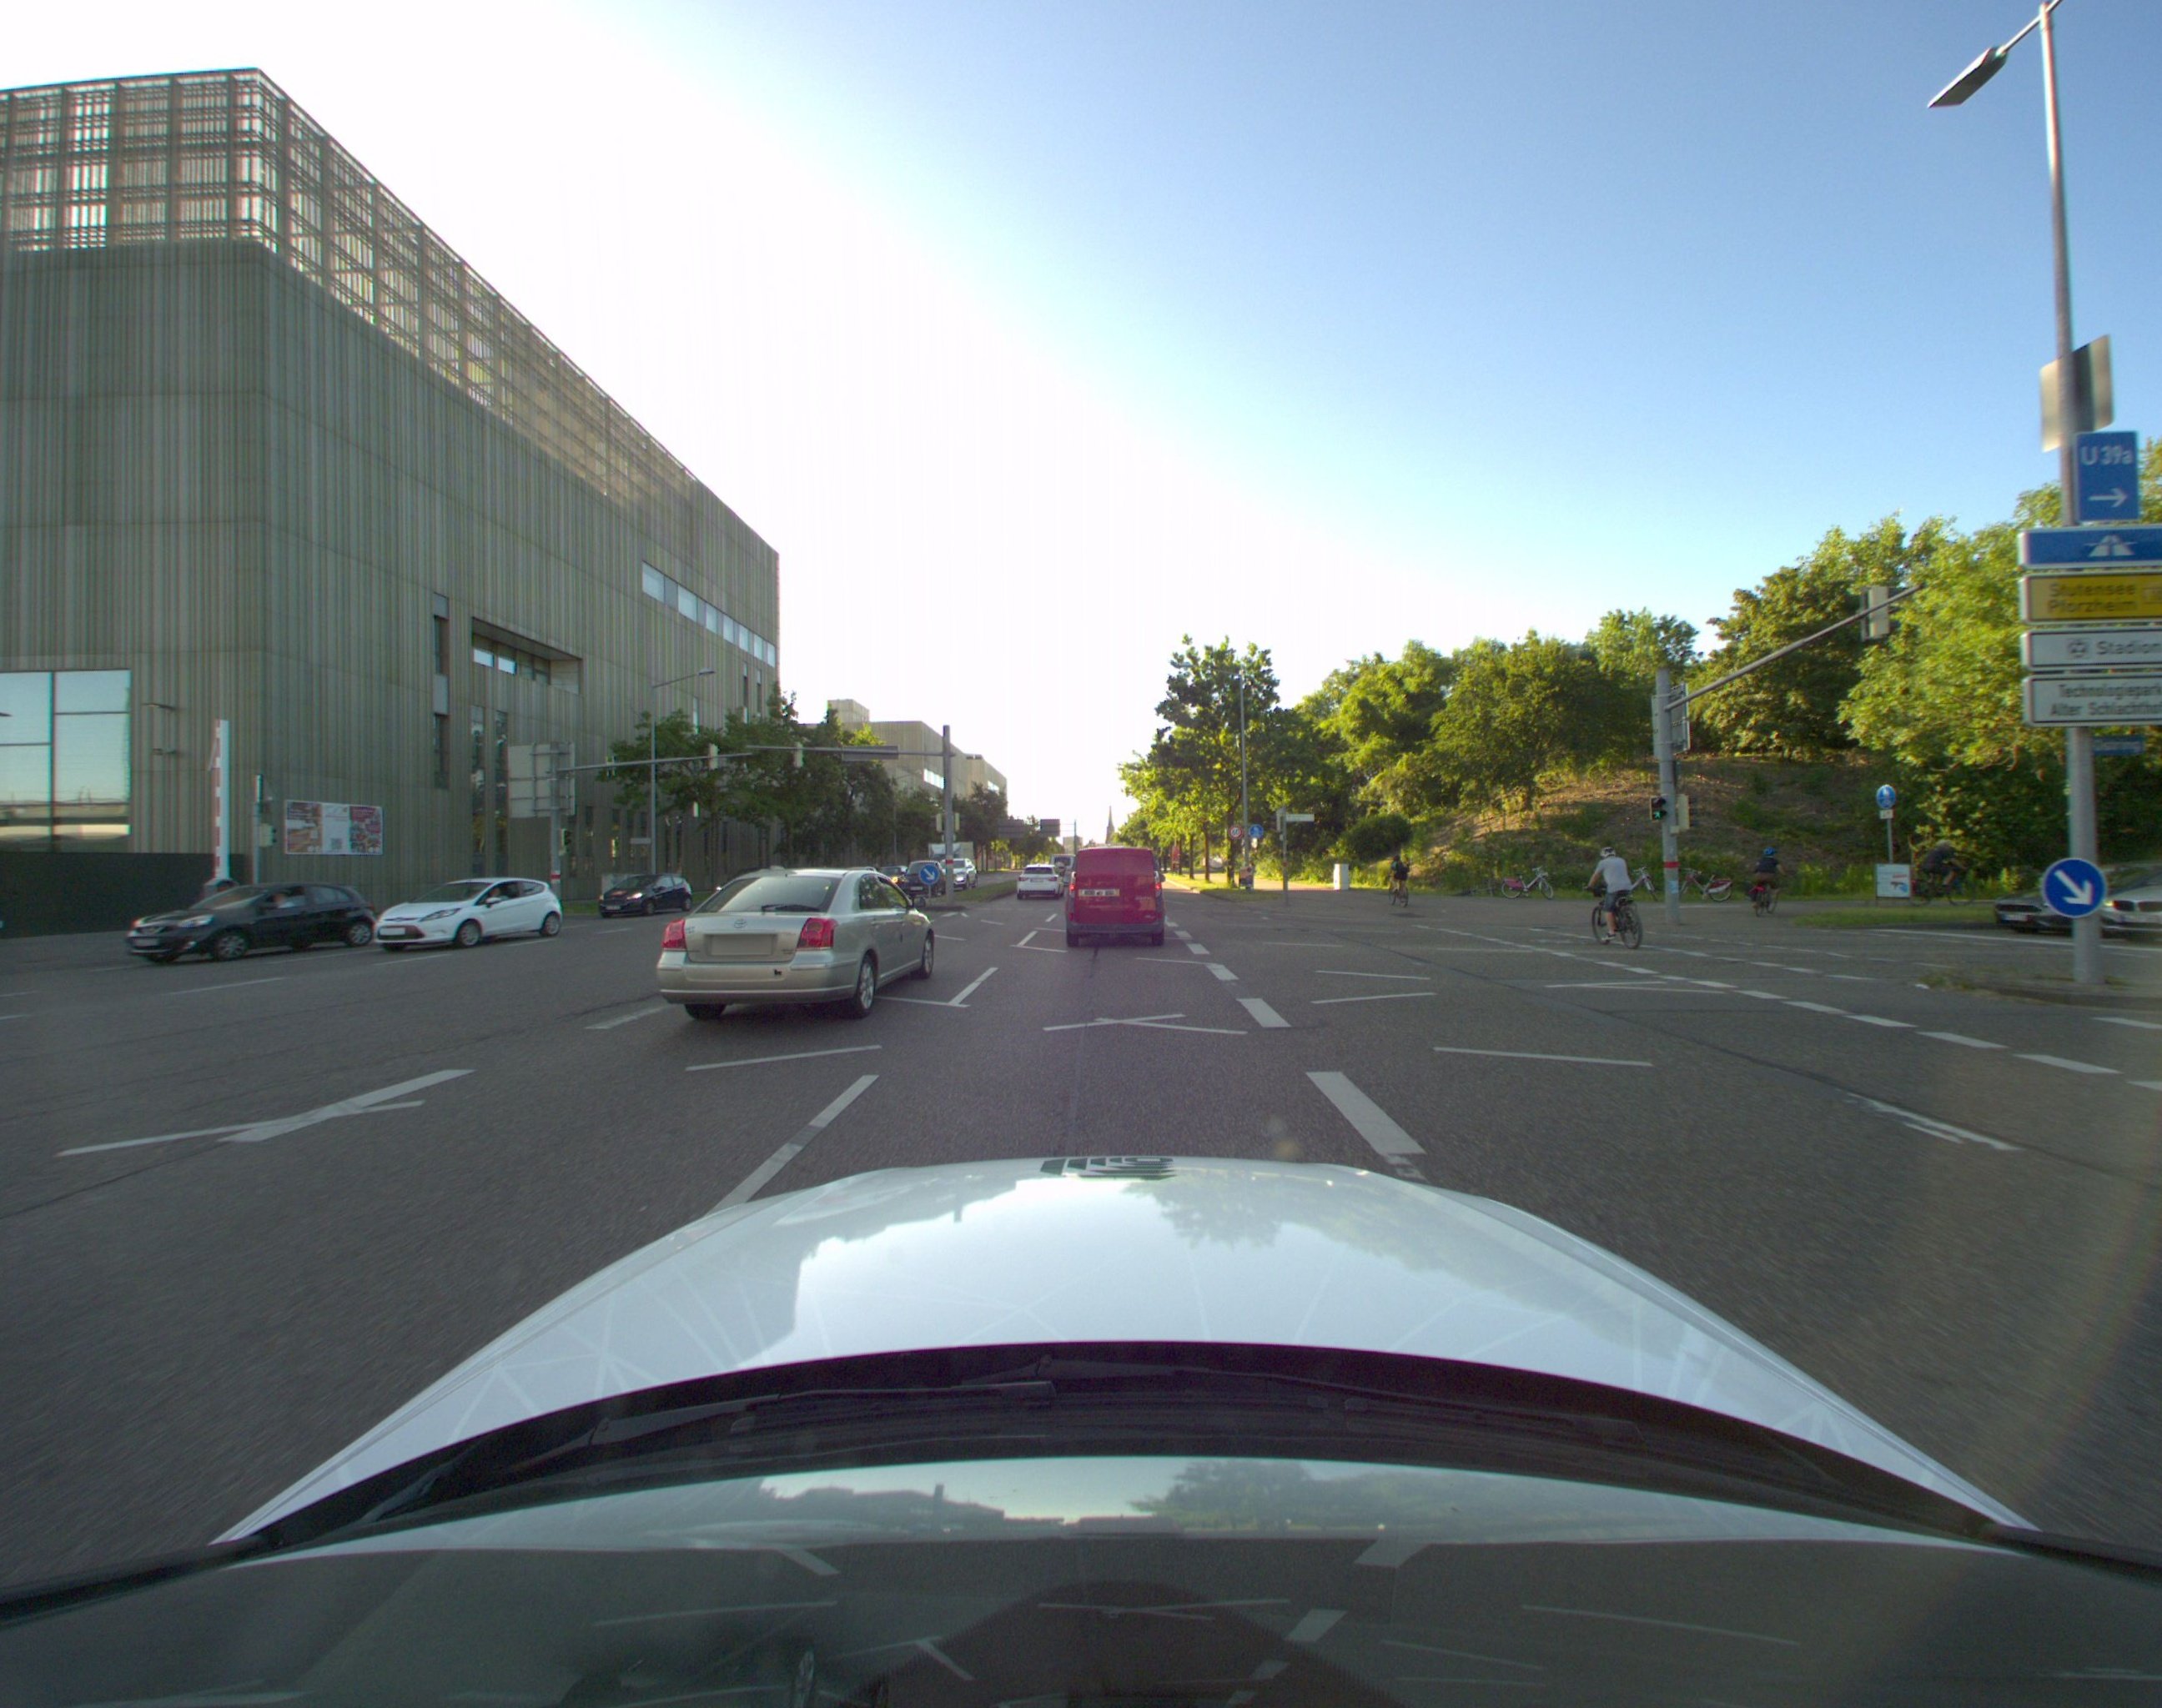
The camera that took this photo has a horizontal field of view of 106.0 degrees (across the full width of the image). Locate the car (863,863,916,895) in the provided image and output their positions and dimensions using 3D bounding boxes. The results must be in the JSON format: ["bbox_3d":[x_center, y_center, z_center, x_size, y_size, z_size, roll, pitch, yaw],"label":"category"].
[{"bbox_3d":[-9.545,1.224,40.838,1.631,1.443,4.076,-3,-1,0],"label":"car"}]

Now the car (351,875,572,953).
[{"bbox_3d":[-13.411,1.239,17.973,1.640,1.404,3.980,-3,-1,2],"label":"car"}]

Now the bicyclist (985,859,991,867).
[{"bbox_3d":[-18.044,1.762,158.168,0.906,1.686,1.409,0,-2,2],"label":"bicyclist"}]

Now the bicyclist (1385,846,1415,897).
[{"bbox_3d":[10.270,0.556,26.261,0.590,1.614,0.942,0,-2,-1],"label":"bicyclist"}]

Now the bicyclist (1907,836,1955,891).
[{"bbox_3d":[23.410,0.261,22.431,0.614,1.481,0.651,0,-1,-1],"label":"bicyclist"}]

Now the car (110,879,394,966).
[{"bbox_3d":[-17.261,1.346,17.270,1.637,1.482,3.986,-3,-1,7],"label":"car"}]

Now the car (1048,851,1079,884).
[{"bbox_3d":[-1.055,0.918,51.479,1.795,1.989,4.588,0,-2,1],"label":"car"}]

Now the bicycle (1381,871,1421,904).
[{"bbox_3d":[10.285,1.069,26.245,0.590,1.023,1.749,0,-2,0],"label":"bicycle"}]

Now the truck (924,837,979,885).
[{"bbox_3d":[-8.866,0.522,56.395,2.400,3.027,6.658,-3,-1,2],"label":"truck"}]

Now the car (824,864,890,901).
[{"bbox_3d":[-9.855,1.242,36.147,1.630,1.443,4.078,-3,-1,1],"label":"car"}]

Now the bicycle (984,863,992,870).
[{"bbox_3d":[-18.037,2.449,158.142,0.906,1.199,3.302,0,-2,2],"label":"bicycle"}]

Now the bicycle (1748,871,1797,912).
[{"bbox_3d":[17.724,0.950,20.853,2.066,1.023,0.665,2,-3,-42],"label":"bicycle"}]

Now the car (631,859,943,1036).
[{"bbox_3d":[-2.872,0.827,9.067,1.726,1.480,4.321,-1,-1,3],"label":"car"}]

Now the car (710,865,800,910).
[{"bbox_3d":[-12.775,1.267,32.179,1.641,1.545,4.398,-3,-1,1],"label":"car"}]

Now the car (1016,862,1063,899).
[{"bbox_3d":[-1.698,1.072,34.245,1.808,1.438,3.730,0,-1,0],"label":"car"}]

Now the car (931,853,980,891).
[{"bbox_3d":[-6.487,0.910,42.455,1.751,1.796,4.084,-3,-1,1],"label":"car"}]

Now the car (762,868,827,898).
[{"bbox_3d":[-15.296,1.505,43.688,1.683,1.443,4.561,-3,-1,2],"label":"car"}]

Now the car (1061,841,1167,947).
[{"bbox_3d":[0.723,0.702,15.859,1.796,1.794,4.005,0,-1,5],"label":"car"}]

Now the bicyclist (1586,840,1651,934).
[{"bbox_3d":[9.055,0.552,13.748,0.589,1.549,0.770,0,-2,4],"label":"bicyclist"}]

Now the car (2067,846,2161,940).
[{"bbox_3d":[19.754,0.644,13.349,4.523,1.514,1.832,0,-2,7],"label":"car"}]

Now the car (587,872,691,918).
[{"bbox_3d":[-15.647,1.428,29.027,1.640,1.434,3.493,-3,-1,1],"label":"car"}]

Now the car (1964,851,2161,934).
[{"bbox_3d":[20.573,0.733,15.810,4.523,1.514,1.832,0,-2,7],"label":"car"}]

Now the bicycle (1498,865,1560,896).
[{"bbox_3d":[14.988,0.885,27.279,1.734,1.023,0.595,0,-2,9],"label":"bicycle"}]

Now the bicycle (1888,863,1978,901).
[{"bbox_3d":[23.415,0.777,22.408,1.739,1.023,0.669,0,-2,0],"label":"bicycle"}]

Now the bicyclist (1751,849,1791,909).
[{"bbox_3d":[17.576,0.635,20.742,0.755,1.475,0.659,2,-3,-42],"label":"bicyclist"}]

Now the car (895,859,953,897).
[{"bbox_3d":[-6.758,1.023,35.469,1.630,1.443,3.720,-3,-1,1],"label":"car"}]

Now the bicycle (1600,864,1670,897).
[{"bbox_3d":[17.514,0.841,25.772,1.734,1.023,0.595,0,-2,9],"label":"bicycle"}]

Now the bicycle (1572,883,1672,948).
[{"bbox_3d":[9.060,1.008,13.725,0.589,1.023,1.752,0,-2,4],"label":"bicycle"}]

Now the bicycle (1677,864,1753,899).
[{"bbox_3d":[19.258,0.837,24.768,1.733,1.023,0.595,0,-2,12],"label":"bicycle"}]
